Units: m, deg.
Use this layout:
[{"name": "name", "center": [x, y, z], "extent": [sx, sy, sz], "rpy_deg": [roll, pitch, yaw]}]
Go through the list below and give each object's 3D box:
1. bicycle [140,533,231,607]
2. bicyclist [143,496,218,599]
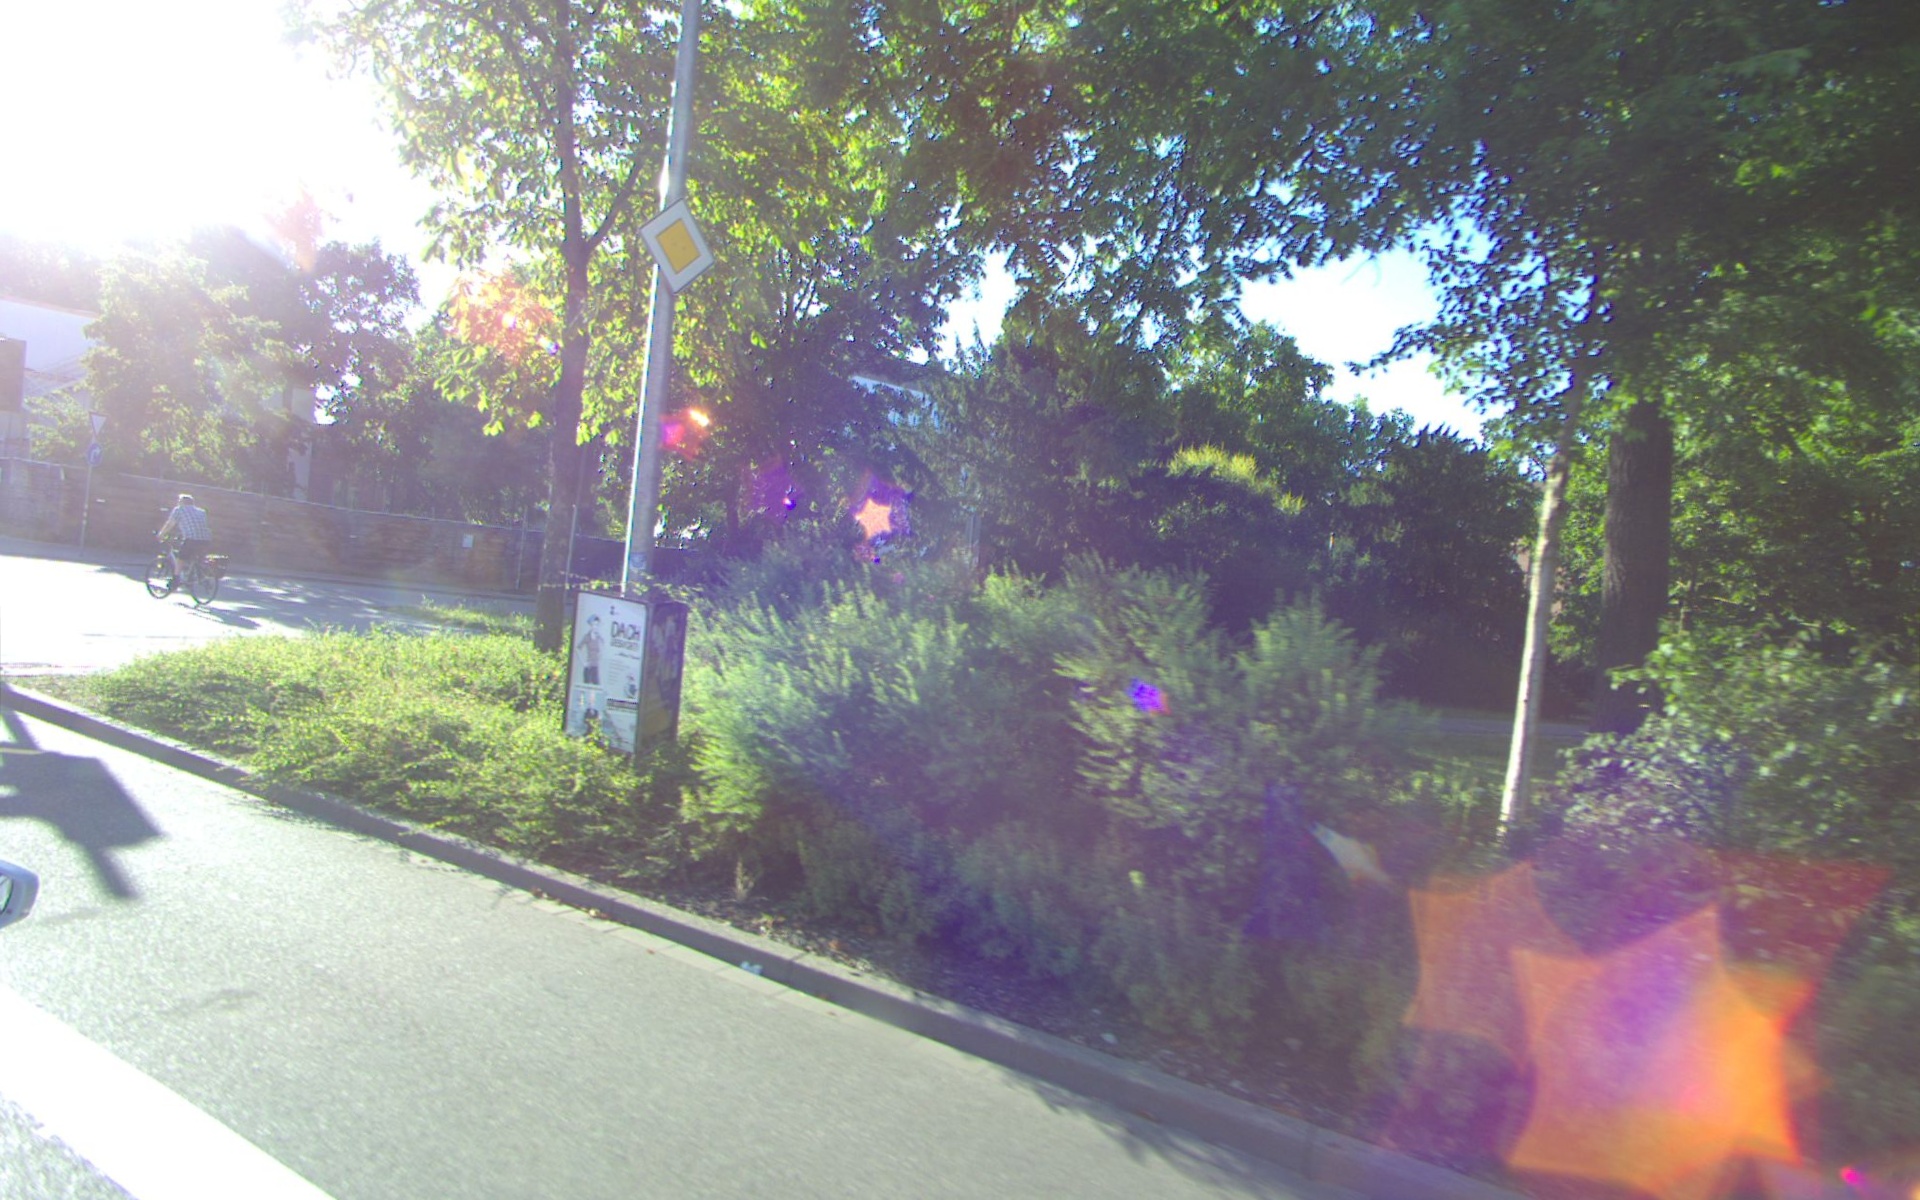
[{"name": "bicycle", "center": [-13.250, -0.523, 17.196], "extent": [1.878, 1.075, 0.428], "rpy_deg": [7, 1, 28]}, {"name": "bicyclist", "center": [-13.270, -0.895, 17.128], "extent": [0.887, 1.635, 0.585], "rpy_deg": [7, 1, 27]}]
